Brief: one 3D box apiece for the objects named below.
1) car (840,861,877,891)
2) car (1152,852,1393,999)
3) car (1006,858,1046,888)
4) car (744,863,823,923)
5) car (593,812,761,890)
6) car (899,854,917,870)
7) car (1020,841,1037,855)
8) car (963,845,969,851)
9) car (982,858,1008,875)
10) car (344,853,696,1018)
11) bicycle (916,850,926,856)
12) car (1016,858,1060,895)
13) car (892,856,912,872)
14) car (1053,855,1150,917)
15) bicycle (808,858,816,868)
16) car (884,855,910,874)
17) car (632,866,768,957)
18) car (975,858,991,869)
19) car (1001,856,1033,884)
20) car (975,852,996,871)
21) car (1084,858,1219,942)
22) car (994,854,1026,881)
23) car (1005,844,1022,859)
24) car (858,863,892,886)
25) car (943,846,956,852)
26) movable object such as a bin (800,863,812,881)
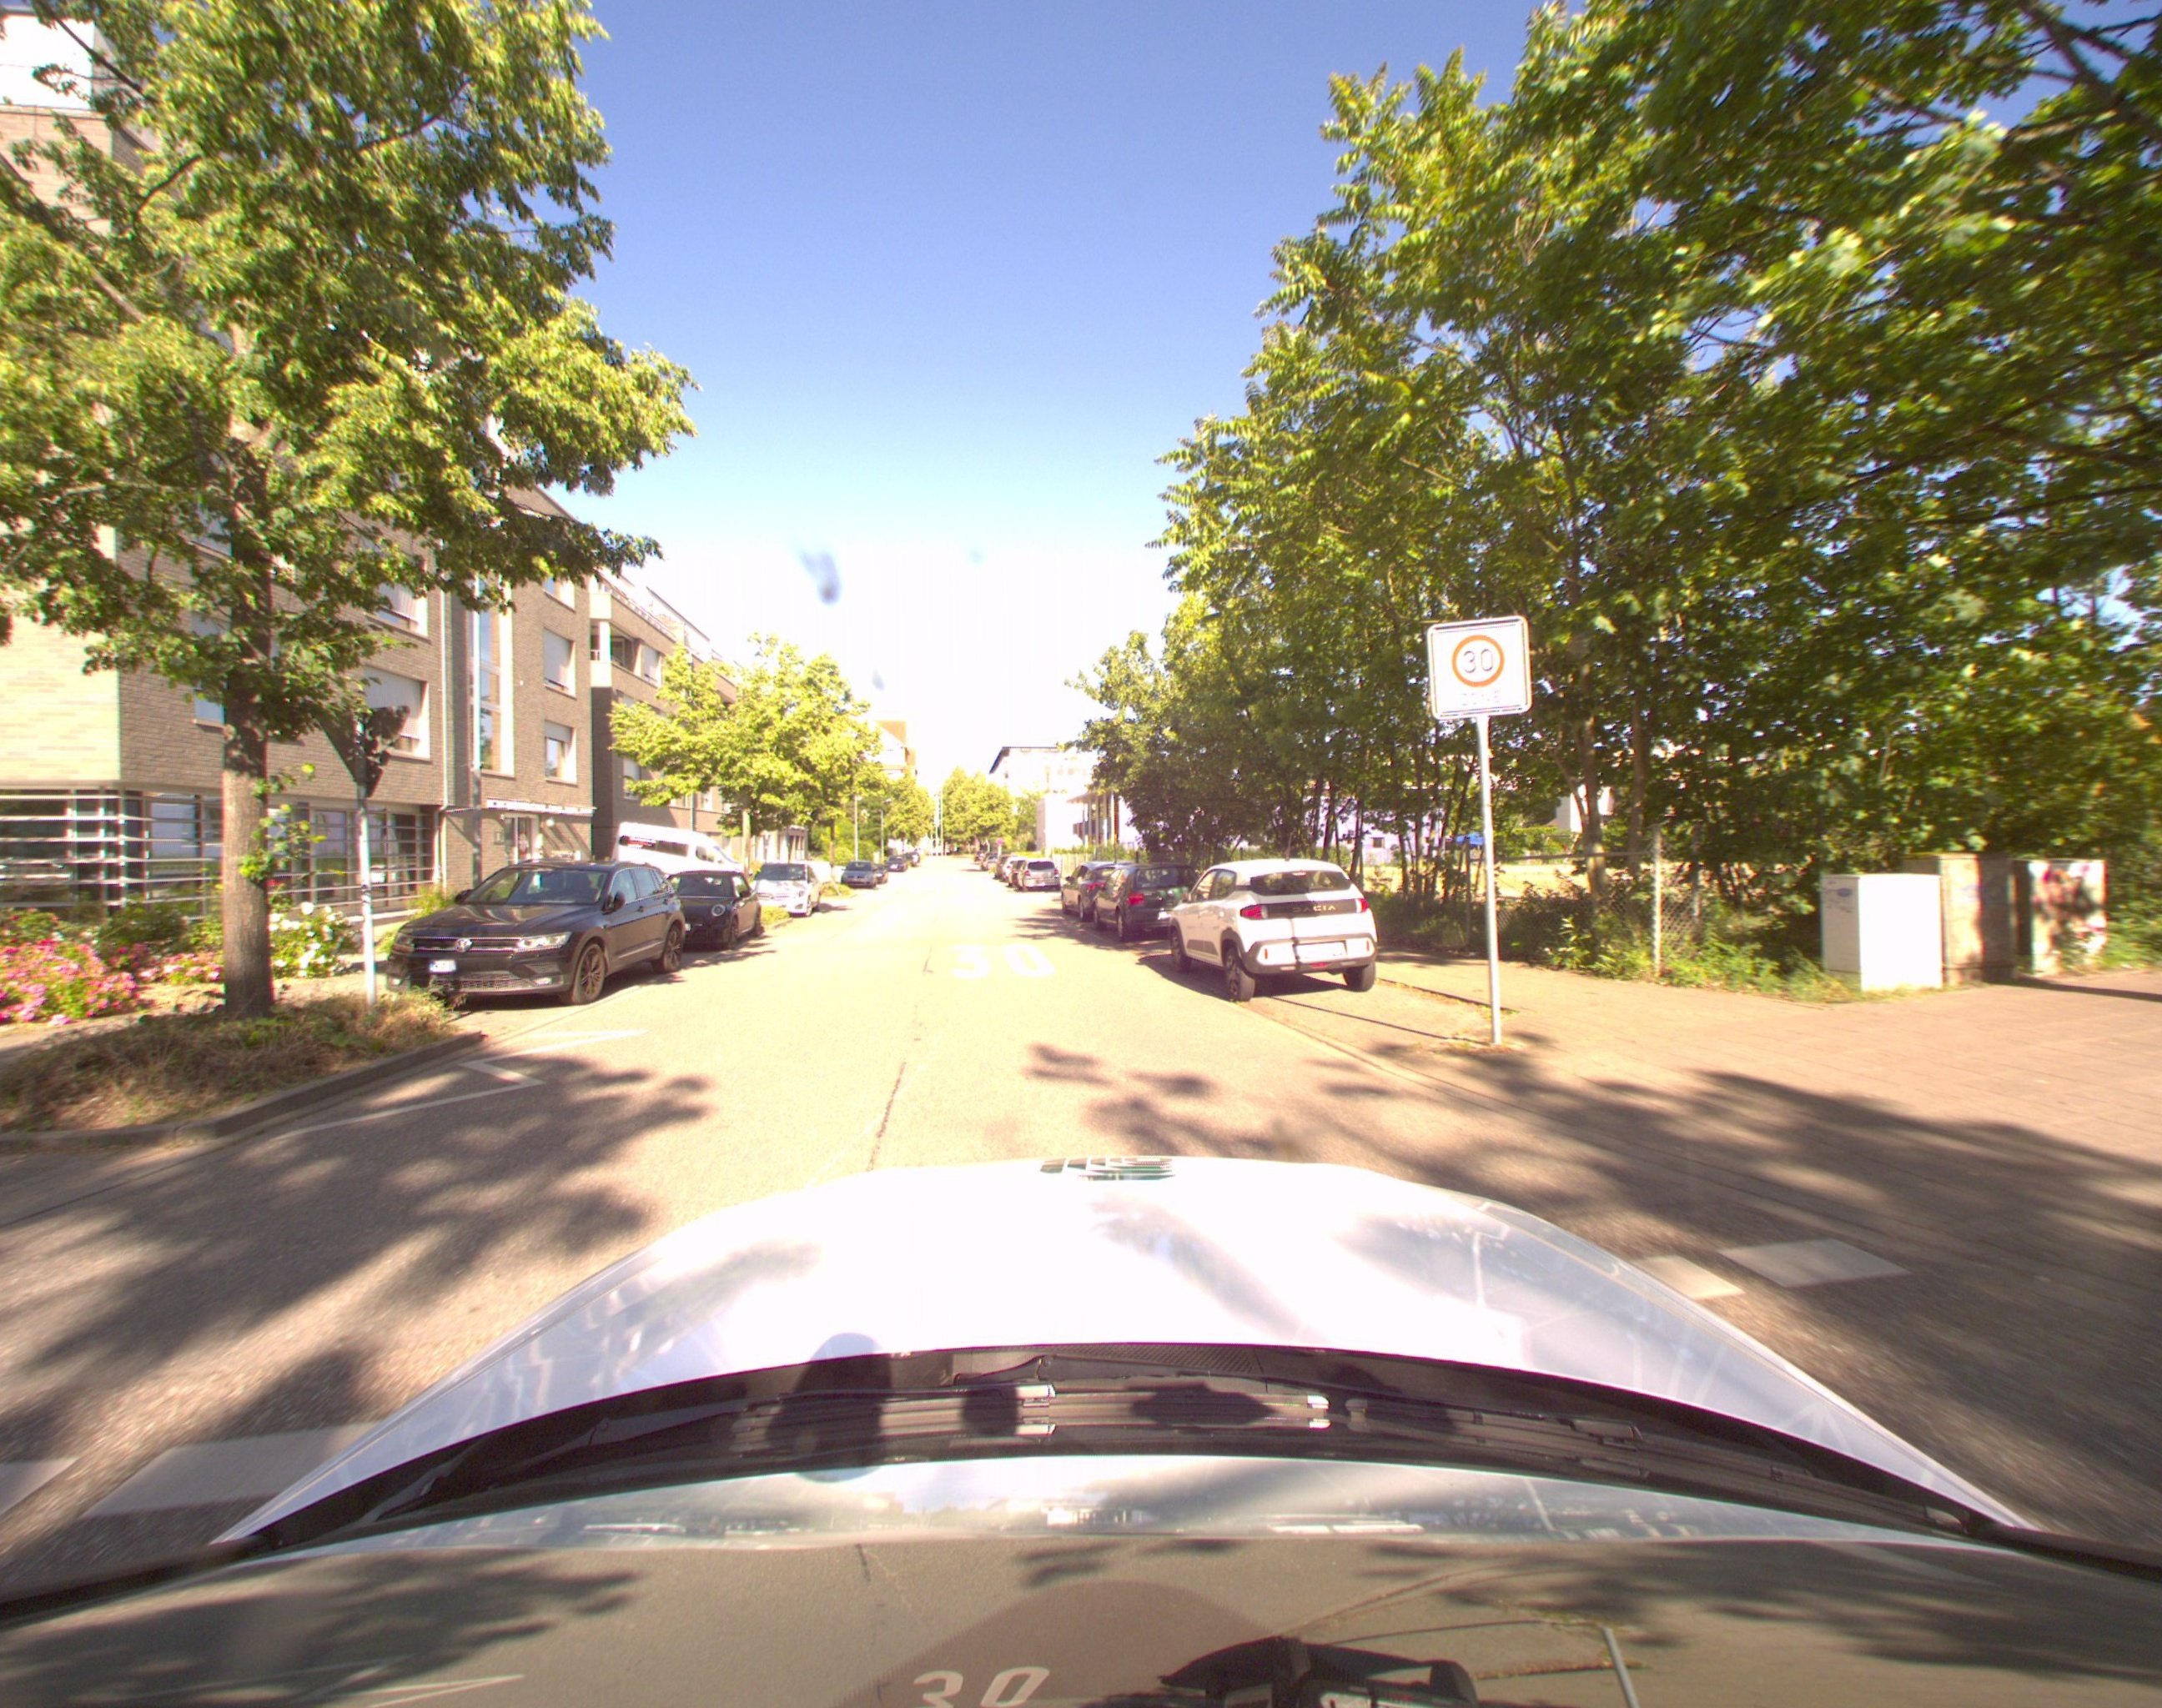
[{"bbox_3d":[-11.984,1.146,44.028,1.611,1.465,3.861,-1,0,-10],"label":"car"},{"bbox_3d":[2.129,0.763,10.266,1.618,1.451,4.079,0,-1,-8],"label":"car"},{"bbox_3d":[-2.914,0.956,42.417,1.687,1.494,4.064,-1,-1,-10],"label":"car"},{"bbox_3d":[-8.823,1.088,24.467,1.661,1.532,4.269,-1,0,-13],"label":"car"},{"bbox_3d":[-16.042,-0.089,32.646,5.451,2.383,1.913,7,-2,-13],"label":"car"},{"bbox_3d":[-18.739,0.832,88.343,1.694,1.605,3.930,0,0,-9],"label":"car"},{"bbox_3d":[-7.567,-0.894,117.001,1.993,2.013,3.988,-1,1,-9],"label":"car"},{"bbox_3d":[-36.396,-1.891,257.464,1.993,2.013,3.989,0,1,-9],"label":"car"},{"bbox_3d":[-7.749,1.095,73.281,1.831,1.422,4.215,-3,0,-12],"label":"car"},{"bbox_3d":[-6.620,0.841,10.337,1.885,1.619,4.327,0,-1,-8],"label":"car"},{"bbox_3d":[-24.712,-0.183,125.684,1.469,0.842,0.334,-1,1,-14],"label":"bicycle"},{"bbox_3d":[-2.034,0.977,37.623,1.662,1.512,3.989,0,1,-9],"label":"car"},{"bbox_3d":[-17.269,0.976,78.777,1.630,1.501,3.566,0,0,-9],"label":"car"},{"bbox_3d":[0.423,0.771,21.427,1.676,1.437,4.423,-1,0,-10],"label":"car"},{"bbox_3d":[-23.385,0.775,70.779,0.253,0.837,1.771,0,1,-6],"label":"bicycle"},{"bbox_3d":[-16.363,0.907,72.504,1.759,1.527,3.992,2,0,-6],"label":"car"},{"bbox_3d":[-7.338,1.020,16.040,1.579,1.504,3.774,-1,0,-12],"label":"car"},{"bbox_3d":[-13.212,1.235,109.429,1.993,1.486,3.987,-1,0,-9],"label":"car"},{"bbox_3d":[-3.962,0.936,50.043,1.679,1.542,3.837,0,1,-9],"label":"car"},{"bbox_3d":[-9.403,0.757,80.207,1.821,1.718,4.106,-3,1,-10],"label":"car"},{"bbox_3d":[1.276,0.834,16.548,1.824,1.472,4.056,0,-1,-9],"label":"car"},{"bbox_3d":[-4.863,0.887,55.158,1.726,1.652,4.311,-3,1,-10],"label":"car"},{"bbox_3d":[-9.696,-0.306,116.559,2.023,2.013,3.987,-1,0,-9],"label":"car"},{"bbox_3d":[-12.530,1.221,49.644,1.598,1.217,3.864,1,0,-8],"label":"car"},{"bbox_3d":[-41.314,-1.531,255.275,3.985,2.013,1.995,0,1,-8],"label":"car"},{"bbox_3d":[-17.195,1.123,50.997,0.607,1.090,0.634,0,1,-11],"label":"movable object such as a bin"}]
